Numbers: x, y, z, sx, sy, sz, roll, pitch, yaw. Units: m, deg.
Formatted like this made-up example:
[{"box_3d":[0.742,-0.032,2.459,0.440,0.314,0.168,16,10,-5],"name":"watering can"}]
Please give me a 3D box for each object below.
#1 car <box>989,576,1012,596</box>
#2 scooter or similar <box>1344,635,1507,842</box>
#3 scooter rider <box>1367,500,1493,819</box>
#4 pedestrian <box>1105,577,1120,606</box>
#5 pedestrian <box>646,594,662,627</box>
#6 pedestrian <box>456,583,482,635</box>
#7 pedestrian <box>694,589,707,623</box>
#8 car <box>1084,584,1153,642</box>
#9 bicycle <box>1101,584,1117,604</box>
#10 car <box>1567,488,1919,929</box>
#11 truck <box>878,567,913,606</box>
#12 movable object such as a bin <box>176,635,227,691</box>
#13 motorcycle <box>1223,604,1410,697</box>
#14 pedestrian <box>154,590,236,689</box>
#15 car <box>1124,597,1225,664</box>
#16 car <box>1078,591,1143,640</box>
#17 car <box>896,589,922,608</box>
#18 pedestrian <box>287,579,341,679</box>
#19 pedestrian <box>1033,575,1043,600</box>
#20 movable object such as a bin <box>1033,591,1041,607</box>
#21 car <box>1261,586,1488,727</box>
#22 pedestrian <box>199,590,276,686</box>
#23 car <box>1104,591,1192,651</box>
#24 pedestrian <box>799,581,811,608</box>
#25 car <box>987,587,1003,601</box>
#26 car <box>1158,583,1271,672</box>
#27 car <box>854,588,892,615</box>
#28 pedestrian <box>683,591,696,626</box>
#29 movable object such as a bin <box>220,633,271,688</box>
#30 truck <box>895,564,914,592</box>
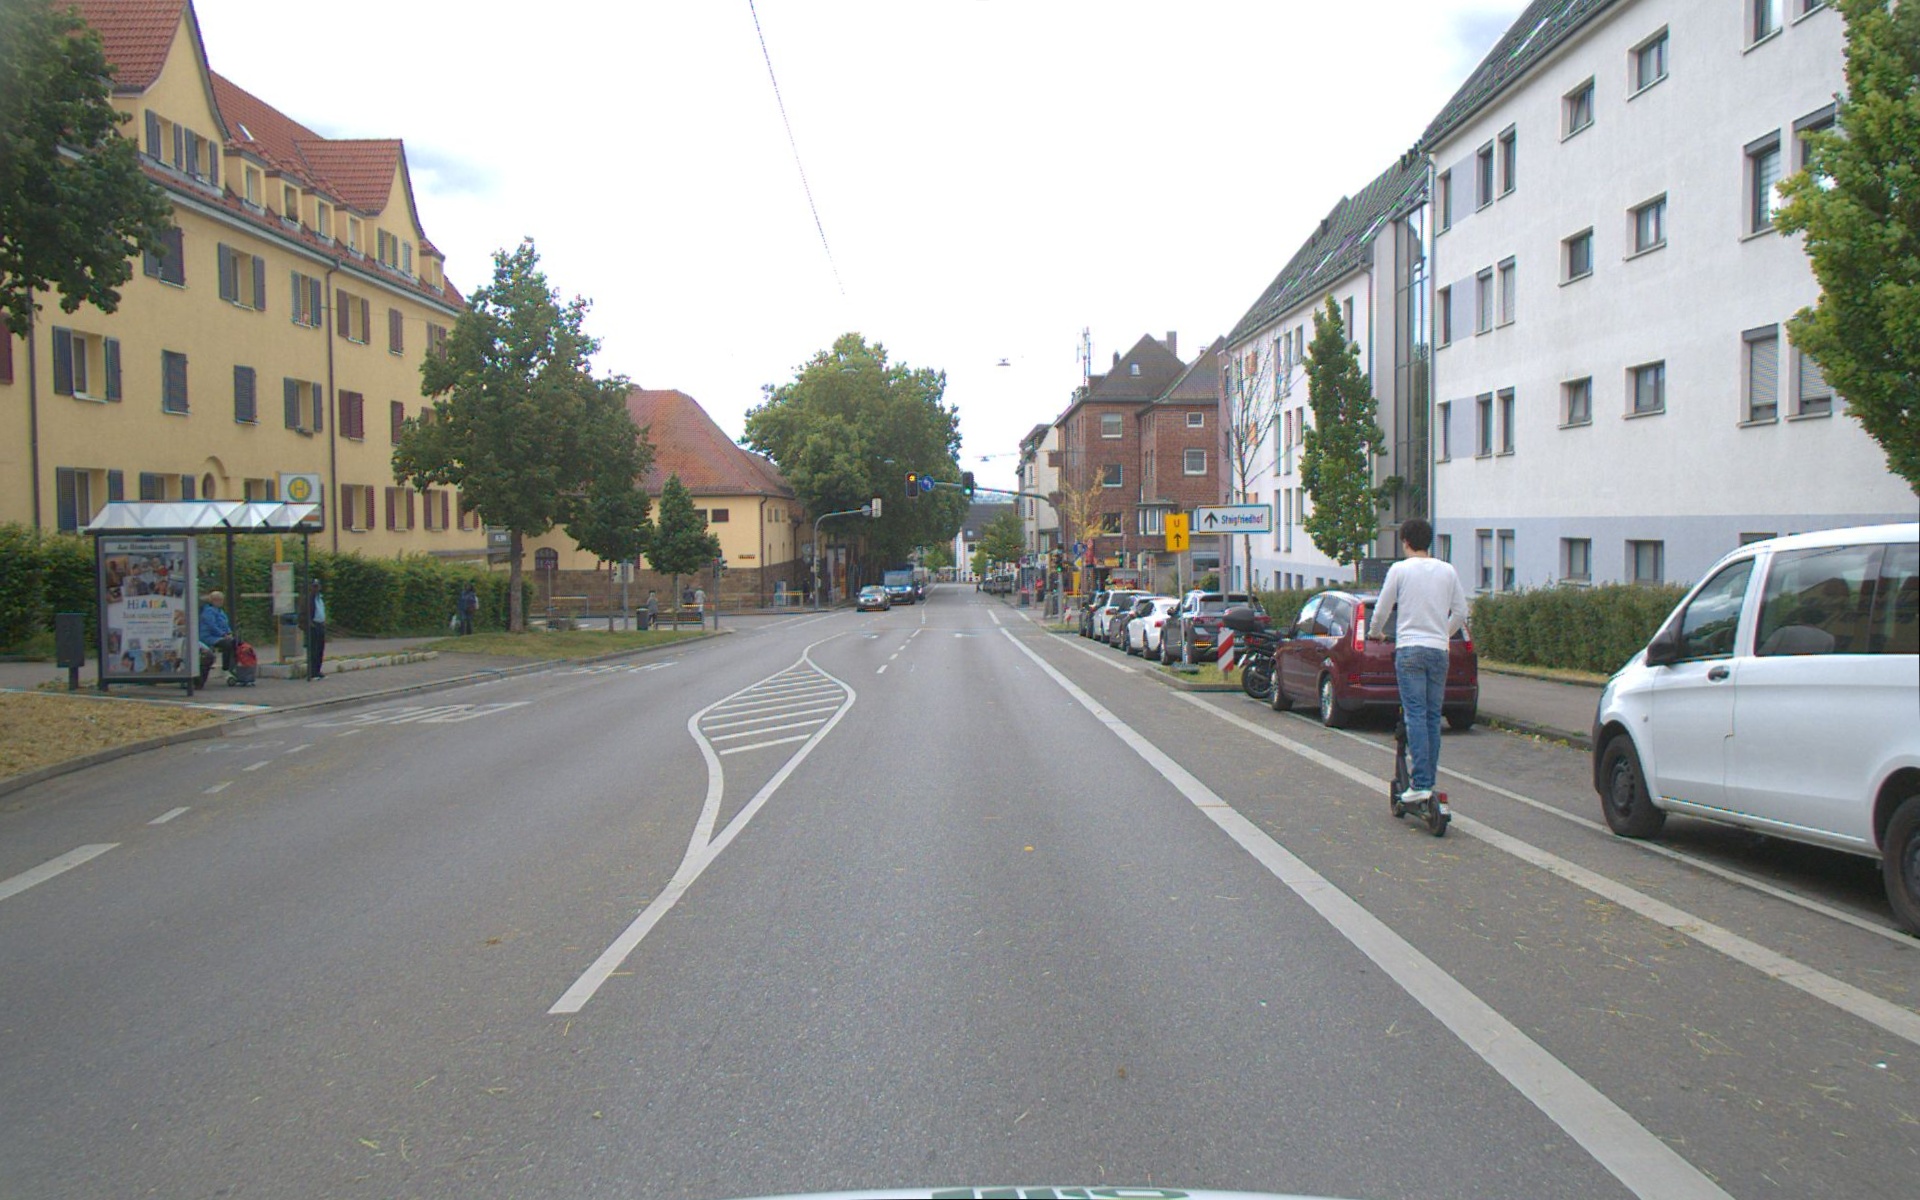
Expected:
[{"box_3d":[4.033,-1.446,165.766,1.954,1.969,4.916,0,1,-3],"name":"car"},{"box_3d":[3.064,0.863,11.076,0.480,1.183,2.074,0,1,-1],"name":"scooter or similar"},{"box_3d":[3.117,0.379,11.020,0.613,2.049,0.757,0,0,-1],"name":"scooter rider"},{"box_3d":[9.238,-0.529,100.327,0.772,1.685,0.772,-2,0,0],"name":"pedestrian"},{"box_3d":[-14.946,0.524,80.756,0.552,1.594,0.843,0,0,5],"name":"pedestrian"},{"box_3d":[-15.477,0.273,52.174,0.627,1.647,0.618,0,0,-1],"name":"pedestrian"},{"box_3d":[-13.611,0.306,86.849,0.552,1.808,0.717,0,0,-1],"name":"pedestrian"},{"box_3d":[4.965,0.372,52.314,1.625,1.746,4.550,1,1,-2],"name":"car"},{"box_3d":[9.007,-0.356,100.100,0.744,1.214,2.391,0,1,0],"name":"bicycle"},{"box_3d":[5.252,0.467,8.959,1.953,1.978,5.210,0,1,-1],"name":"car"},{"box_3d":[-4.370,-0.922,111.707,2.249,2.469,6.408,-1,1,-3],"name":"truck"},{"box_3d":[-11.794,0.972,25.728,0.454,0.840,0.665,1,0,1],"name":"movable object such as a bin"},{"box_3d":[5.136,0.718,23.927,2.546,1.301,0.752,0,0,-5],"name":"motorcycle"},{"box_3d":[-11.925,0.607,25.797,0.881,1.499,0.806,1,0,0],"name":"pedestrian"},{"box_3d":[5.083,0.690,39.714,1.695,1.438,4.498,1,1,-2],"name":"car"},{"box_3d":[5.162,0.521,57.192,1.699,1.616,4.571,1,0,-2],"name":"car"},{"box_3d":[-3.928,-0.134,127.926,1.667,1.439,4.193,-1,1,2],"name":"car"},{"box_3d":[-11.490,0.503,29.454,0.585,1.757,0.861,0,0,2],"name":"pedestrian"},{"box_3d":[5.344,-0.863,113.321,0.553,1.665,0.681,0,0,20],"name":"pedestrian"},{"box_3d":[5.282,-0.063,113.054,0.443,1.075,0.410,0,0,20],"name":"movable object such as a bin"},{"box_3d":[5.032,0.615,20.679,1.647,1.571,4.338,0,1,-2],"name":"car"},{"box_3d":[-11.857,0.610,27.154,0.881,1.536,0.806,1,0,0],"name":"pedestrian"},{"box_3d":[5.126,0.533,45.685,1.710,1.493,4.948,1,1,-2],"name":"car"},{"box_3d":[-10.218,-0.364,109.213,0.660,1.796,0.726,0,0,2],"name":"pedestrian"},{"box_3d":[4.011,-0.665,189.513,1.635,1.574,3.754,0,1,-3],"name":"car"},{"box_3d":[5.191,0.509,34.252,1.598,1.679,4.356,1,1,-1],"name":"car"},{"box_3d":[-4.998,0.060,95.843,1.719,1.498,4.308,-1,1,3],"name":"car"},{"box_3d":[-14.264,0.452,87.195,0.552,1.808,0.842,0,0,-1],"name":"pedestrian"},{"box_3d":[-11.706,0.994,27.122,0.525,0.860,0.665,1,0,1],"name":"movable object such as a bin"},{"box_3d":[-6.737,-2.690,201.964,2.185,3.405,7.448,0,1,-1],"name":"truck"}]
